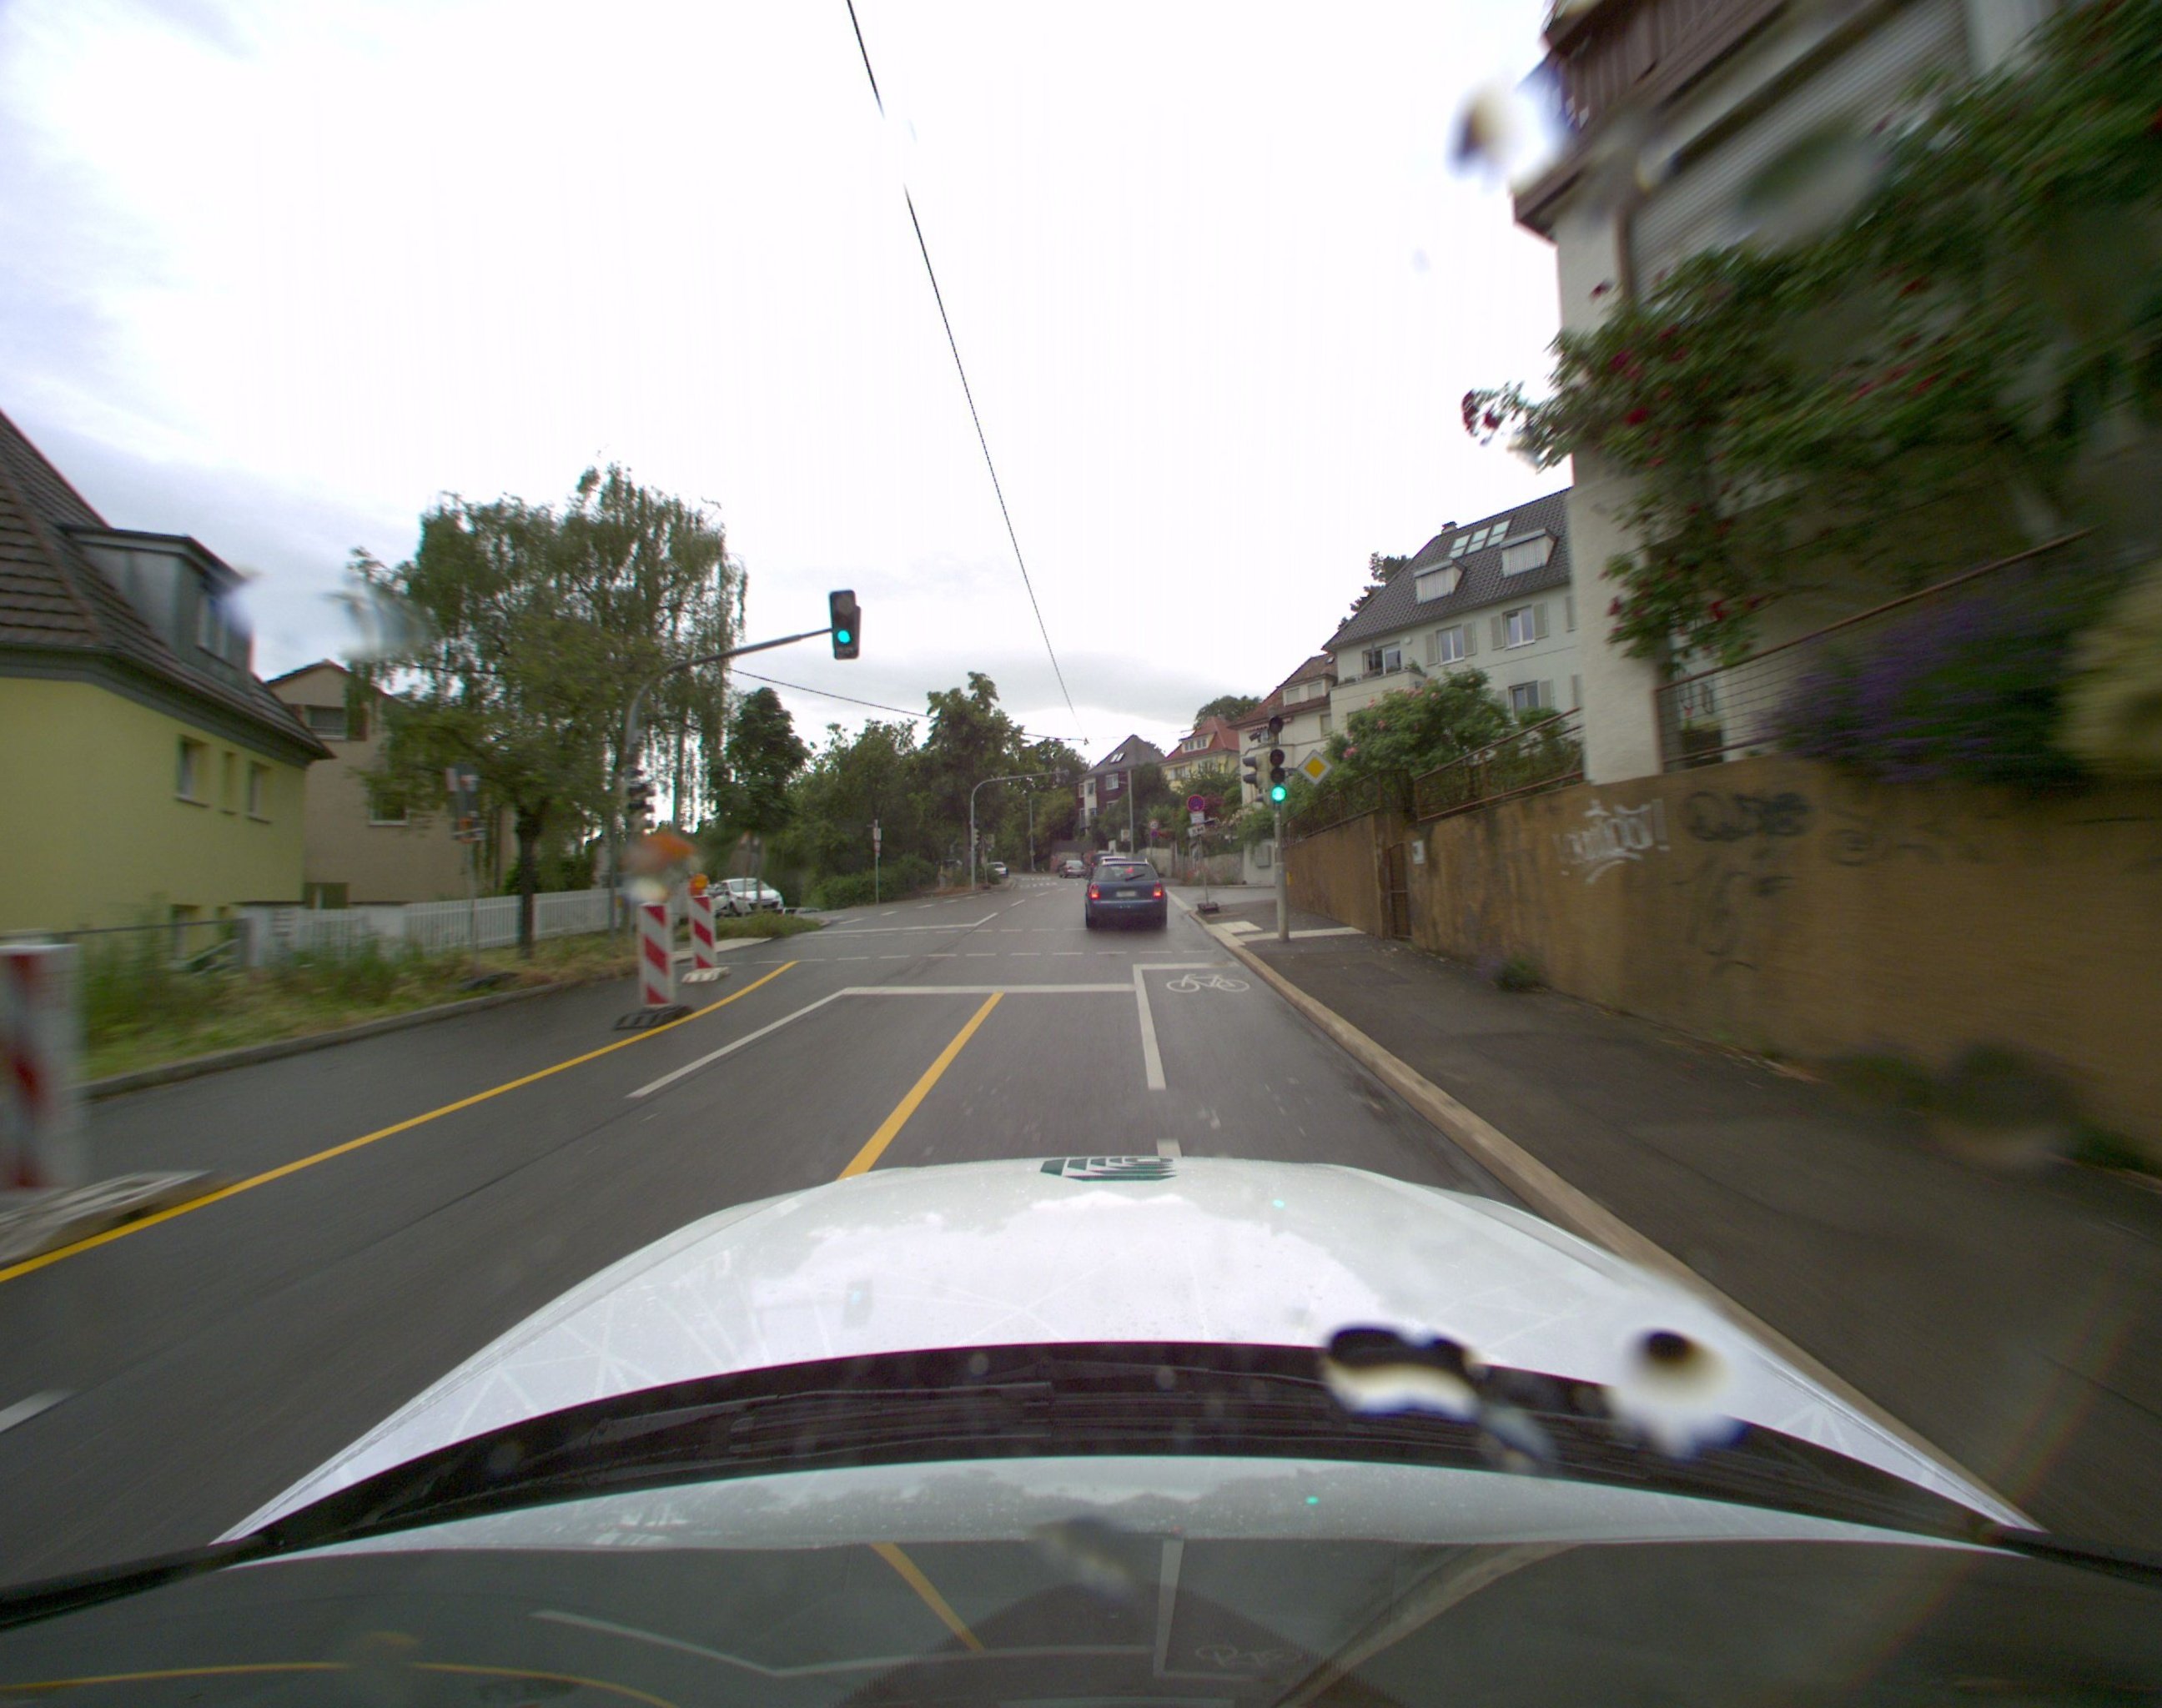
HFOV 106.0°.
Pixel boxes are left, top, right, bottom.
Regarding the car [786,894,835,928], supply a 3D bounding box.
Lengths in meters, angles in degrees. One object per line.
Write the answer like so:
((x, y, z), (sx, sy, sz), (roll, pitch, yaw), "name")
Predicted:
((-15.198, 3.140, 45.681), (1.853, 1.750, 3.961), (1, -2, -30), "car")

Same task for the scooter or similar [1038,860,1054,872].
((-4.264, 1.472, 98.919), (1.834, 1.315, 0.598), (3, -4, -10), "scooter or similar")

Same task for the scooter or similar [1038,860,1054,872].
((-4.210, 1.414, 98.086), (1.834, 1.315, 0.598), (3, -4, -10), "scooter or similar")

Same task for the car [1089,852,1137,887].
((1.354, 0.665, 35.156), (1.902, 1.388, 4.351), (1, -1, 1), "car")

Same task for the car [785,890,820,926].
((-17.288, 3.317, 50.506), (1.755, 2.014, 3.968), (0, -1, -23), "car")

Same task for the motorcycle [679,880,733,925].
((-10.348, 1.316, 22.551), (0.589, 1.131, 1.843), (-3, 0, 0), "motorcycle")

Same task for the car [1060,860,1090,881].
((-0.527, 1.337, 66.520), (1.766, 1.570, 4.016), (-3, 0, -10), "car")

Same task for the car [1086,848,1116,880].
((1.290, 0.596, 52.645), (1.724, 1.894, 4.056), (-3, 0, 1), "car")

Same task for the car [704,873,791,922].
((-12.193, 1.598, 29.653), (1.698, 1.509, 3.963), (-4, -2, -40), "car")

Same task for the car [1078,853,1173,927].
((1.117, 0.735, 18.396), (1.767, 1.439, 4.009), (-2, 0, 8), "car")

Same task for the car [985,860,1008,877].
((-7.589, 1.284, 72.572), (1.674, 1.426, 3.986), (-3, 0, -10), "car")
